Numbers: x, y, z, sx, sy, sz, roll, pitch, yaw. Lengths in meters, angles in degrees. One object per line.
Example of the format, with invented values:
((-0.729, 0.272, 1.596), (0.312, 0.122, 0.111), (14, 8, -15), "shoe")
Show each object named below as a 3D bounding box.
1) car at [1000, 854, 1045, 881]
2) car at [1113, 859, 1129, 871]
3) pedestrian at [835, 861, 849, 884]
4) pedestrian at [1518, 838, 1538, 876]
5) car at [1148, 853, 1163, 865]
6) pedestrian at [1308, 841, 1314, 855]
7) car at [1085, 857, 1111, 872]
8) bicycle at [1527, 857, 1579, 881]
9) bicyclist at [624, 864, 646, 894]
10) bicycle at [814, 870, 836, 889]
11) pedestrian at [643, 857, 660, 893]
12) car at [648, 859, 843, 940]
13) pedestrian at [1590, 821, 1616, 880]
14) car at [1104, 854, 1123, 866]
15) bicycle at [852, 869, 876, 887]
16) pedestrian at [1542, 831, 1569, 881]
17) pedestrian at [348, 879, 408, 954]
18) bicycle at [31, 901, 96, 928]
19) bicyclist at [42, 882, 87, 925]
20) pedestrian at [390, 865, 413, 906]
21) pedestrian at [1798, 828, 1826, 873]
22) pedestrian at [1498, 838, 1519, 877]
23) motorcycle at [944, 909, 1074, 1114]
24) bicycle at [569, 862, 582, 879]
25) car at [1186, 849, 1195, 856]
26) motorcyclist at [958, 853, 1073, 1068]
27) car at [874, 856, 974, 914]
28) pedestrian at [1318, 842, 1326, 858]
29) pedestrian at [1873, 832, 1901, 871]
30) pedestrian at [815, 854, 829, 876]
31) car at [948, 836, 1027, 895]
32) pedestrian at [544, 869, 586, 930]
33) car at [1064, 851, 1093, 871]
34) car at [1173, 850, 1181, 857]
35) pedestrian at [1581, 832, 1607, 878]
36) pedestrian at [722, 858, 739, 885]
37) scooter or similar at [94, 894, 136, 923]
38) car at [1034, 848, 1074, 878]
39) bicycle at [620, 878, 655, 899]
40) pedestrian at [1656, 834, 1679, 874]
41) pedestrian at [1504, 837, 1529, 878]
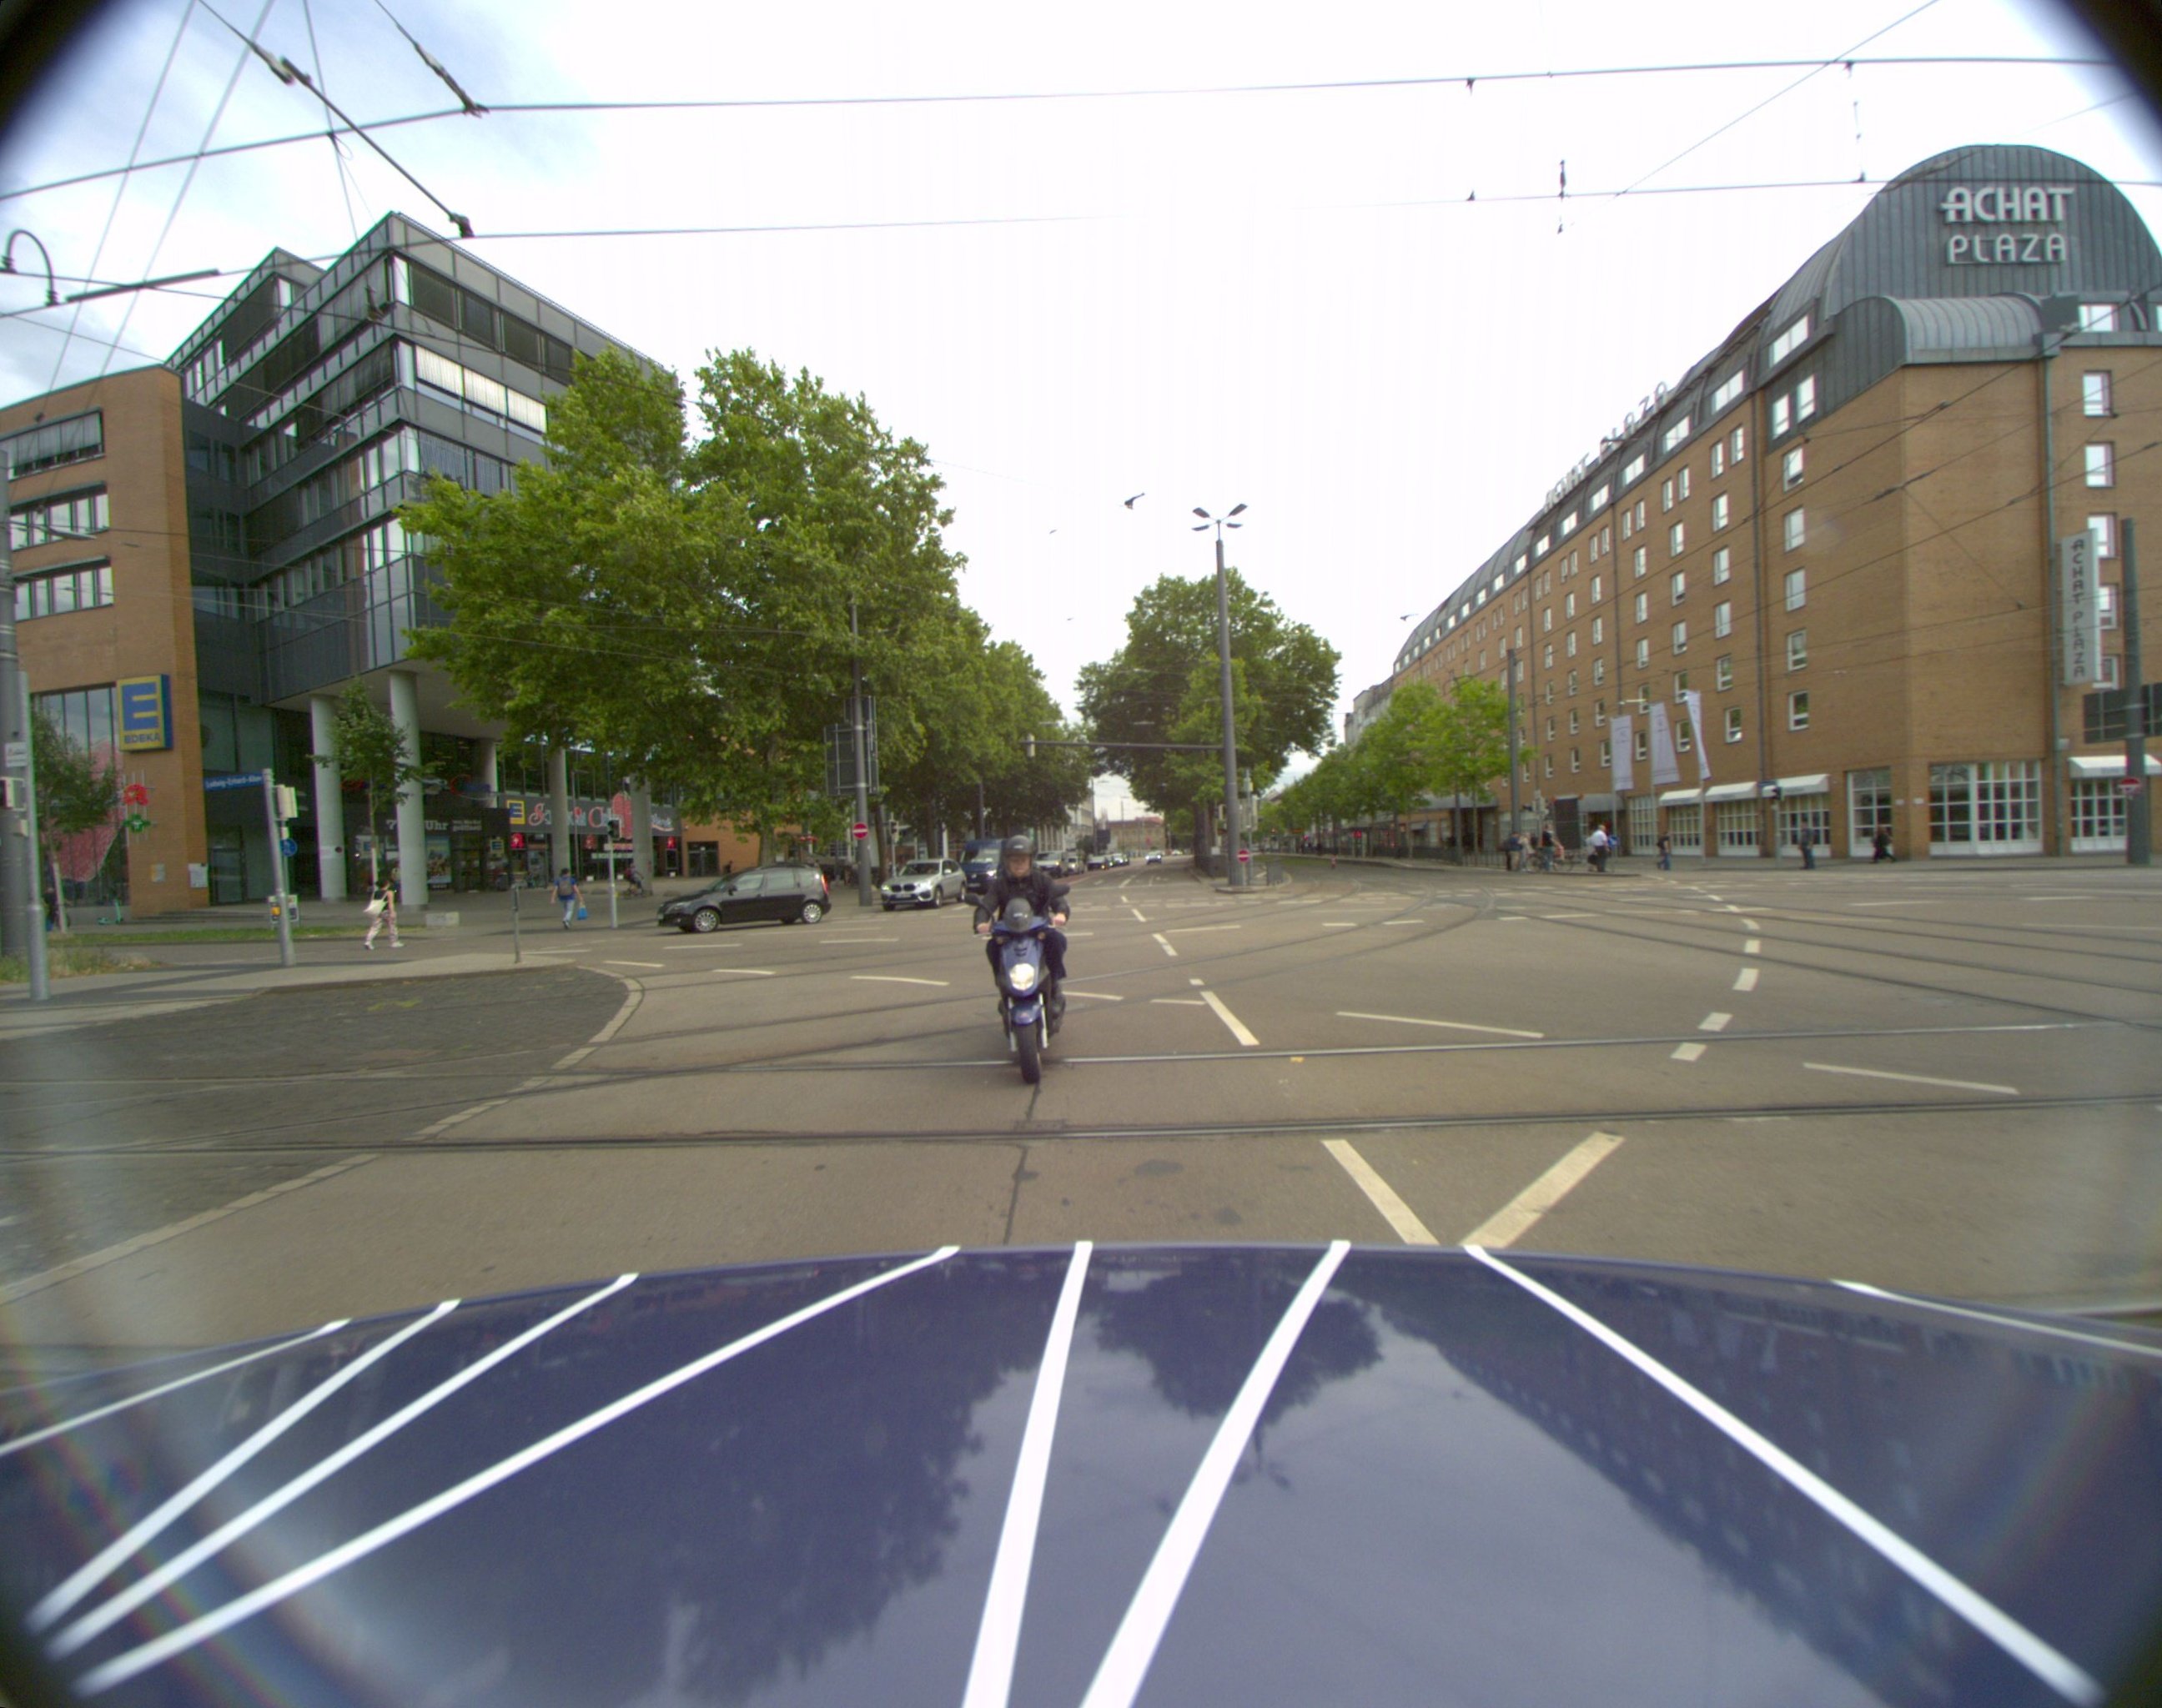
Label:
((-3.326, 0.738, 43.802), (1.756, 1.410, 4.275), (-1, 1, 7), "car")
((5.020, 1.353, 94.741), (1.574, 1.270, 3.734), (-2, 1, 9), "car")
((-15.833, 1.227, 50.302), (0.587, 1.502, 0.683), (-1, 2, 14), "pedestrian")
((20.322, 0.139, 34.528), (0.564, 1.696, 0.534), (-2, 1, -6), "pedestrian")
((9.415, 0.654, 95.779), (1.845, 1.369, 3.836), (-2, -1, 7), "car")
((28.189, -0.713, 93.197), (0.648, 1.696, 0.624), (-2, 1, 10), "pedestrian")
((1.694, 0.990, 75.091), (1.997, 1.270, 4.002), (-2, 1, 9), "car")
((18.742, 0.579, 30.192), (1.710, 0.884, 0.499), (-2, 1, 5), "bicycle")
((-22.144, 1.221, 37.711), (0.531, 1.424, 0.739), (-2, 1, 12), "bicyclist")
((-14.694, 1.458, 43.678), (0.595, 1.043, 1.722), (-2, 1, 2), "bicycle")
((-22.647, 1.111, 40.048), (0.545, 1.855, 0.515), (-1, 1, 29), "pedestrian")
((-8.655, 1.091, 19.826), (4.187, 1.728, 1.960), (-3, 1, -43), "car")
((19.204, -0.134, 27.956), (0.564, 2.118, 0.534), (-2, 1, -6), "pedestrian")
((3.779, 0.716, 88.860), (1.711, 1.270, 4.002), (-2, 1, 9), "car")
((-12.381, 1.373, 43.349), (0.535, 0.911, 1.724), (-2, 1, 13), "bicycle")
((18.585, 0.066, 29.770), (0.693, 1.941, 0.534), (-2, 1, 0), "pedestrian")
((-16.122, 1.425, 17.445), (0.587, 1.642, 0.744), (-2, 1, 10), "pedestrian")
((-40.048, 2.386, 29.916), (2.002, 1.005, 0.638), (-1, 1, 9), "bicycle")
((-39.994, 1.940, 29.910), (0.977, 1.606, 0.638), (-1, 1, 9), "bicyclist")
((-31.646, 1.471, 35.398), (0.627, 1.855, 0.671), (-2, 1, -33), "pedestrian")
((28.328, -0.148, 29.463), (0.563, 1.696, 0.535), (-2, 1, 2), "pedestrian")
((19.039, 0.145, 33.828), (0.564, 1.696, 0.534), (-2, 1, -6), "pedestrian")
((-0.468, 1.085, 5.945), (0.769, 1.101, 2.207), (-2, 1, 0), "motorcycle")
((-28.671, 0.932, 43.087), (0.537, 0.911, 1.560), (-3, 1, -35), "bicycle")
((28.970, -0.329, 201.189), (1.668, 1.699, 3.999), (-2, 1, 0), "car")
((-0.476, 0.769, 5.968), (0.761, 1.510, 1.017), (-2, 1, 0), "motorcyclist")
((-5.305, 0.992, 26.368), (1.963, 1.651, 4.640), (-4, 0, 6), "car")
((25.263, -0.416, 79.646), (0.648, 1.696, 0.624), (-2, 1, 7), "pedestrian")
((31.316, -0.092, 29.519), (0.535, 1.498, 0.648), (-3, 2, -33), "pedestrian")
((-18.545, 0.785, 54.447), (0.586, 1.502, 0.683), (-1, 2, 26), "pedestrian")
((-4.241, 0.468, 35.974), (2.174, 2.441, 6.999), (-2, 0, 5), "car")
((-15.063, 1.322, 22.181), (0.587, 1.722, 0.744), (-2, 1, 10), "pedestrian")
((-0.173, 0.570, 63.351), (1.914, 1.533, 4.094), (-1, 0, 7), "car")
((25.566, -0.231, 201.835), (1.668, 1.699, 3.999), (-2, 1, 0), "car")
((19.572, 0.040, 28.997), (0.564, 1.696, 0.578), (-2, 1, -6), "pedestrian")
((-22.165, 1.099, 48.047), (0.745, 1.722, 0.586), (-3, 2, -44), "pedestrian")
((-41.000, 2.325, 32.251), (1.472, 1.160, 0.486), (-2, 1, 15), "scooter or similar")
((-1.846, 0.577, 54.245), (1.997, 2.002, 5.439), (-1, 0, 7), "car")
((-22.092, 1.715, 37.883), (0.535, 0.911, 1.542), (-2, 1, 12), "bicycle")
((25.159, -0.001, 32.577), (0.563, 1.696, 0.535), (-2, 1, 5), "pedestrian")
((18.395, 0.153, 32.087), (0.684, 1.696, 0.534), (-2, 1, -6), "pedestrian")
